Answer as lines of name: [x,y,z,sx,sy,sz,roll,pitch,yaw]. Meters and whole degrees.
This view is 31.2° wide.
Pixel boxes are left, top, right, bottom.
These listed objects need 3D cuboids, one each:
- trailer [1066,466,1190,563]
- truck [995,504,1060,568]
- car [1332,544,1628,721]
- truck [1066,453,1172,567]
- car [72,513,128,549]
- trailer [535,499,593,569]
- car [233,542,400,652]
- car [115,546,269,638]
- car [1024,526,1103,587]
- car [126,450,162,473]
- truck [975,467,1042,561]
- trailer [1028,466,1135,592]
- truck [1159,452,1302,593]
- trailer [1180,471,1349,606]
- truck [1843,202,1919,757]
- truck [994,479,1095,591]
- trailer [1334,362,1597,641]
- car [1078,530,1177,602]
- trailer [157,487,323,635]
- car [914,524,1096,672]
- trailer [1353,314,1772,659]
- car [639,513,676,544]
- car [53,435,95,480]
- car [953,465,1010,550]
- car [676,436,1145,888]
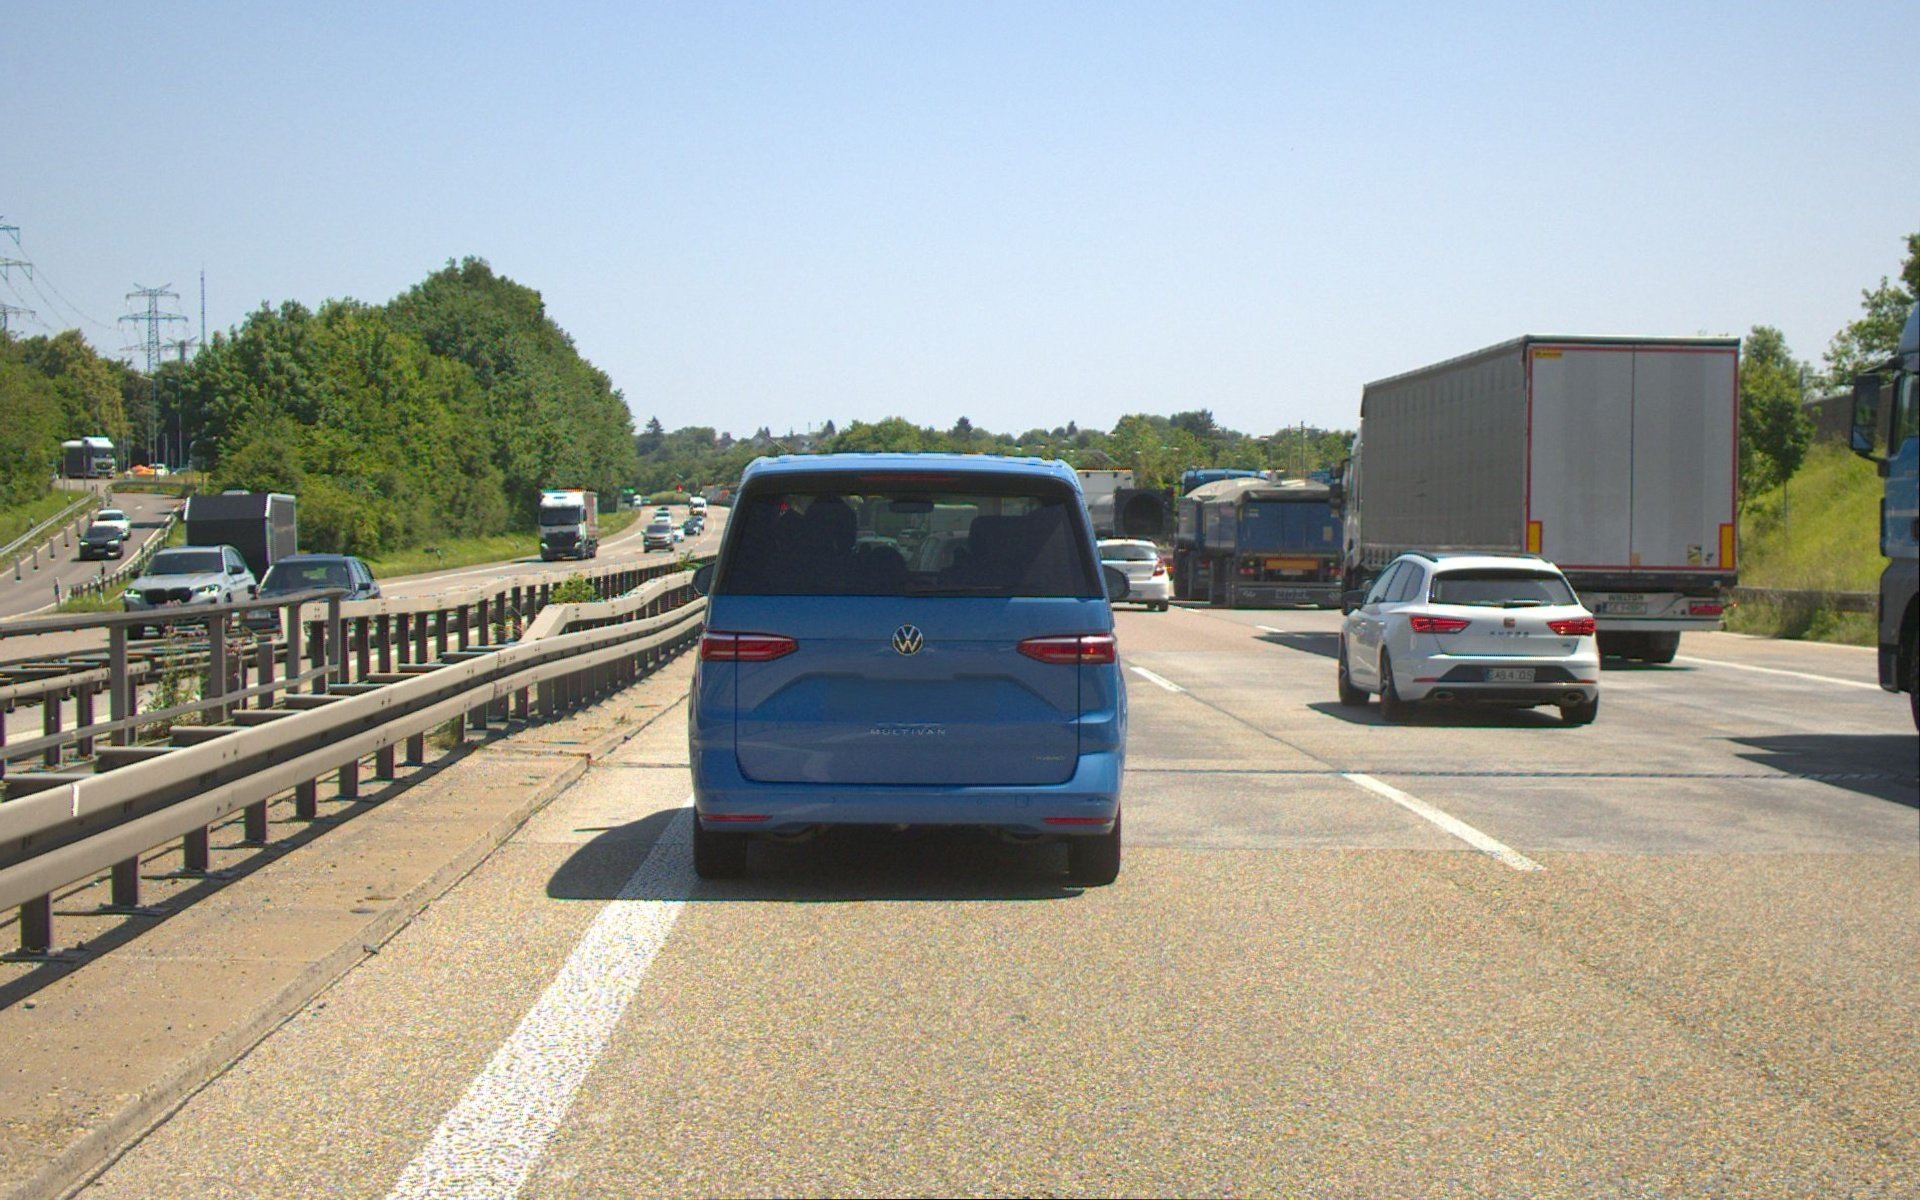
trailer: [5.848,-2.934,122.482,3.646,3.068,15.772,1,0,0]
truck: [2.016,-1.917,103.663,1.725,1.851,4.000,1,0,-2]
car: [4.360,0.228,29.389,1.867,1.356,4.000,1,1,0]
truck: [5.932,-3.323,129.441,3.626,4.080,7.524,1,0,1]
car: [-39.499,-3.147,157.995,1.993,1.570,5.276,1,0,-9]
trailer: [-23.046,-3.846,200.228,2.756,3.962,6.132,-2,1,-2]
car: [-9.682,-0.057,51.958,1.792,1.567,4.000,1,0,-1]
car: [-14.379,-0.158,64.607,1.870,1.620,4.629,-1,0,-1]
car: [2.683,-1.123,89.780,1.780,1.519,4.000,1,0,-2]
car: [-58.467,-9.915,246.325,1.936,1.504,4.401,1,0,-21]
truck: [2.610,-4.675,189.049,3.068,4.903,10.691,1,0,-2]
trailer: [5.146,-2.976,148.355,3.646,5.119,13.076,1,0,-2]
truck: [6.675,-1.969,85.705,2.743,3.300,7.133,1,2,-2]
trailer: [6.843,-1.469,78.503,2.743,2.827,9.117,1,2,-2]
truck: [8.493,-0.818,22.307,2.765,4.095,9.953,1,1,-1]
truck: [4.049,-3.141,169.741,3.621,5.195,15.691,1,0,-3]
trailer: [7.716,-1.509,53.340,2.924,4.030,6.411,1,1,-2]
car: [3.492,-0.709,72.396,1.840,1.449,4.000,1,0,0]
trailer: [-14.504,-0.773,69.562,2.166,2.768,5.376,-3,0,-1]
car: [0.457,-0.037,39.013,1.870,1.547,4.000,1,0,-2]
trailer: [7.879,-1.460,47.368,2.962,4.035,13.753,1,1,-2]
car: [-19.890,-4.702,226.286,1.993,1.934,4.897,1,0,-1]
car: [-60.463,-9.701,234.602,2.068,2.870,6.734,-1,0,-20]
car: [1.331,-5.864,219.906,3.218,5.239,8.145,1,0,-2]
car: [-0.220,0.244,16.255,1.901,1.831,4.000,1,0,0]
